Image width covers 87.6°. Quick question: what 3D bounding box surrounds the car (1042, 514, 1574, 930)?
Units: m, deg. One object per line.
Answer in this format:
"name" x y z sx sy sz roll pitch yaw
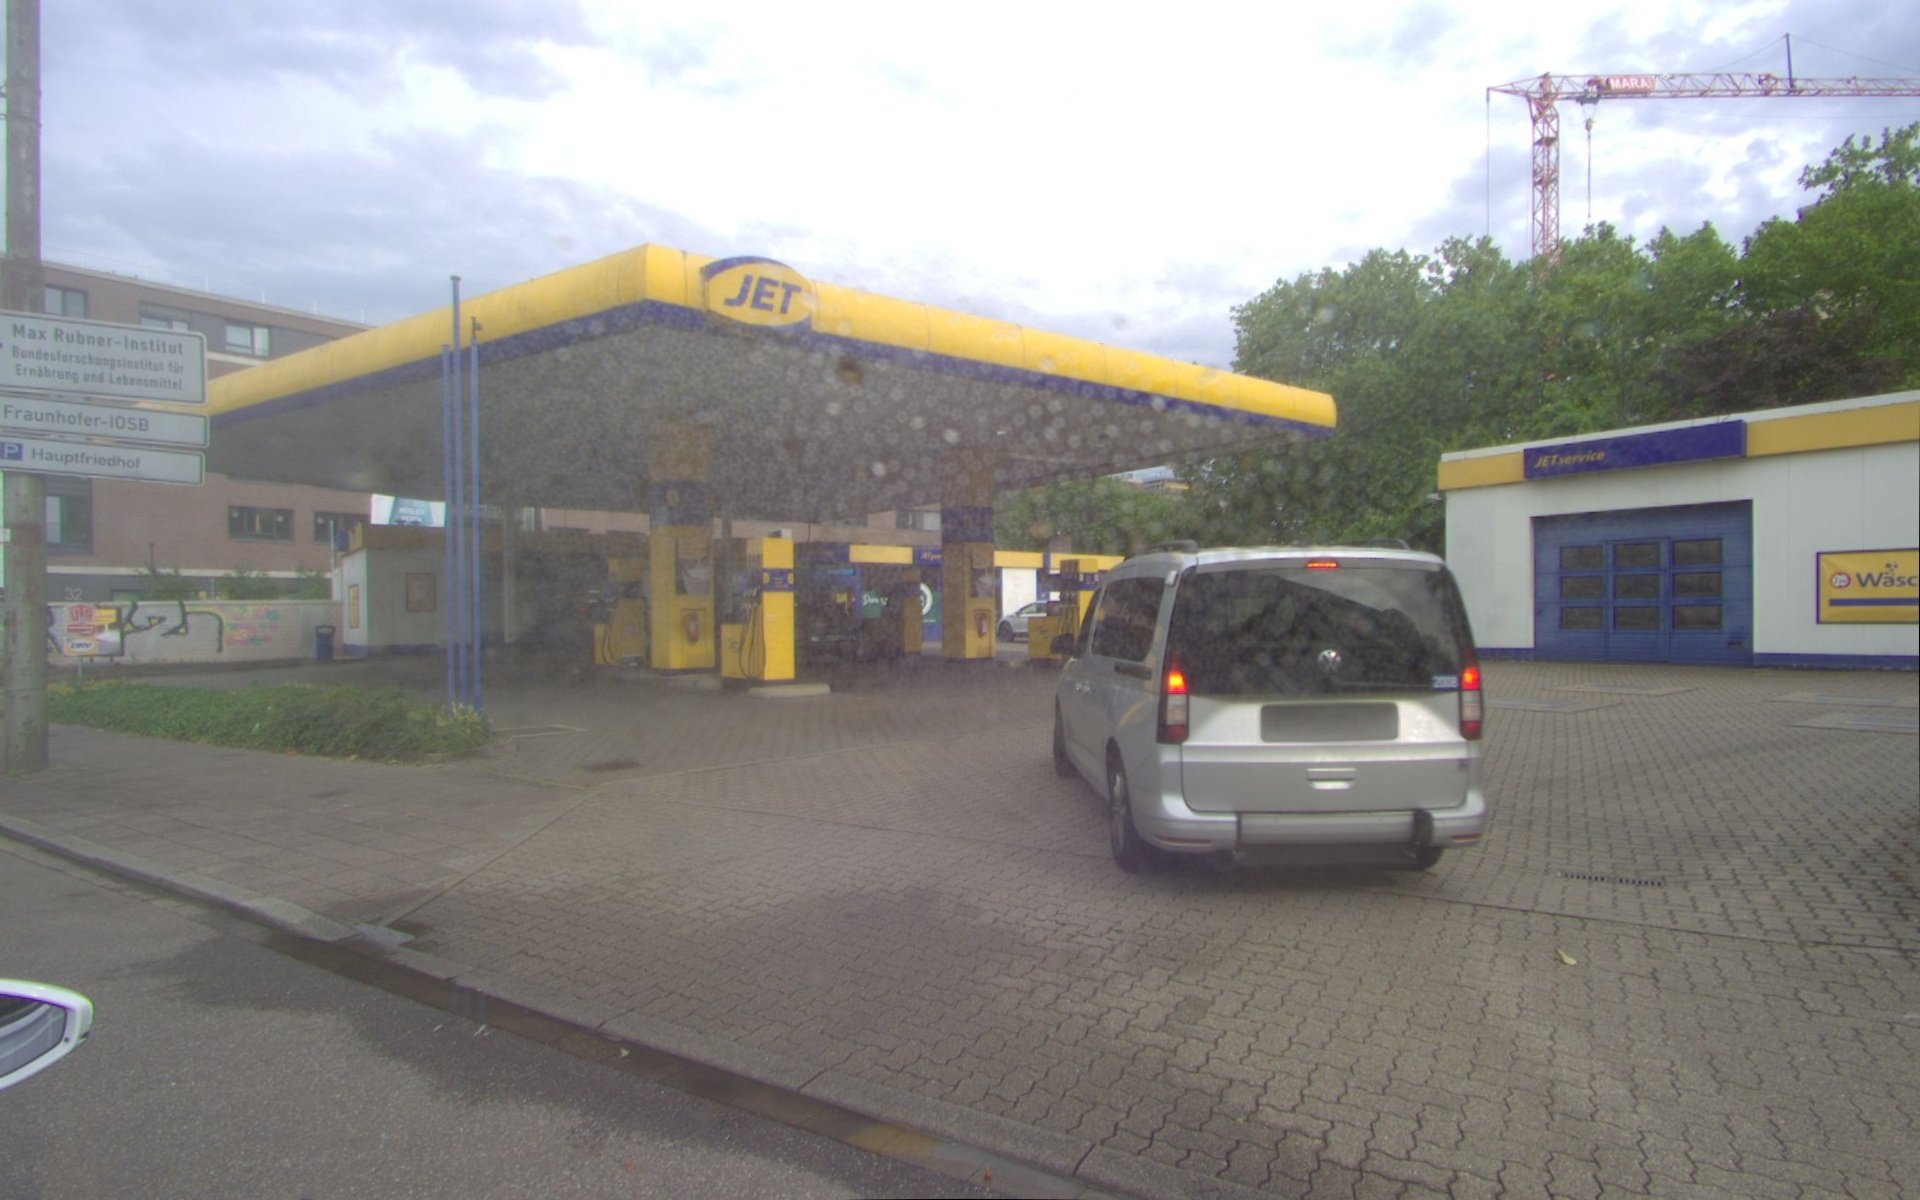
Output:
"car" 1.796 0.515 6.853 1.949 1.868 4.525 -1 1 -2

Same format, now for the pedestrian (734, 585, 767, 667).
"pedestrian" -4.752 0.593 22.680 0.617 1.810 0.705 0 -1 -23

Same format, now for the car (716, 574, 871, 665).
"car" -4.114 0.472 24.251 1.804 2.014 4.219 -2 0 -40

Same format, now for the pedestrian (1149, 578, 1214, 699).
"pedestrian" 3.480 0.583 15.783 0.592 1.844 0.968 0 2 -14

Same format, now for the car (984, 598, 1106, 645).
"car" 3.140 0.770 37.905 1.919 1.617 4.722 0 1 -38

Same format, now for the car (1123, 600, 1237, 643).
"car" 9.018 0.870 41.300 1.936 1.607 4.390 1 0 -37
